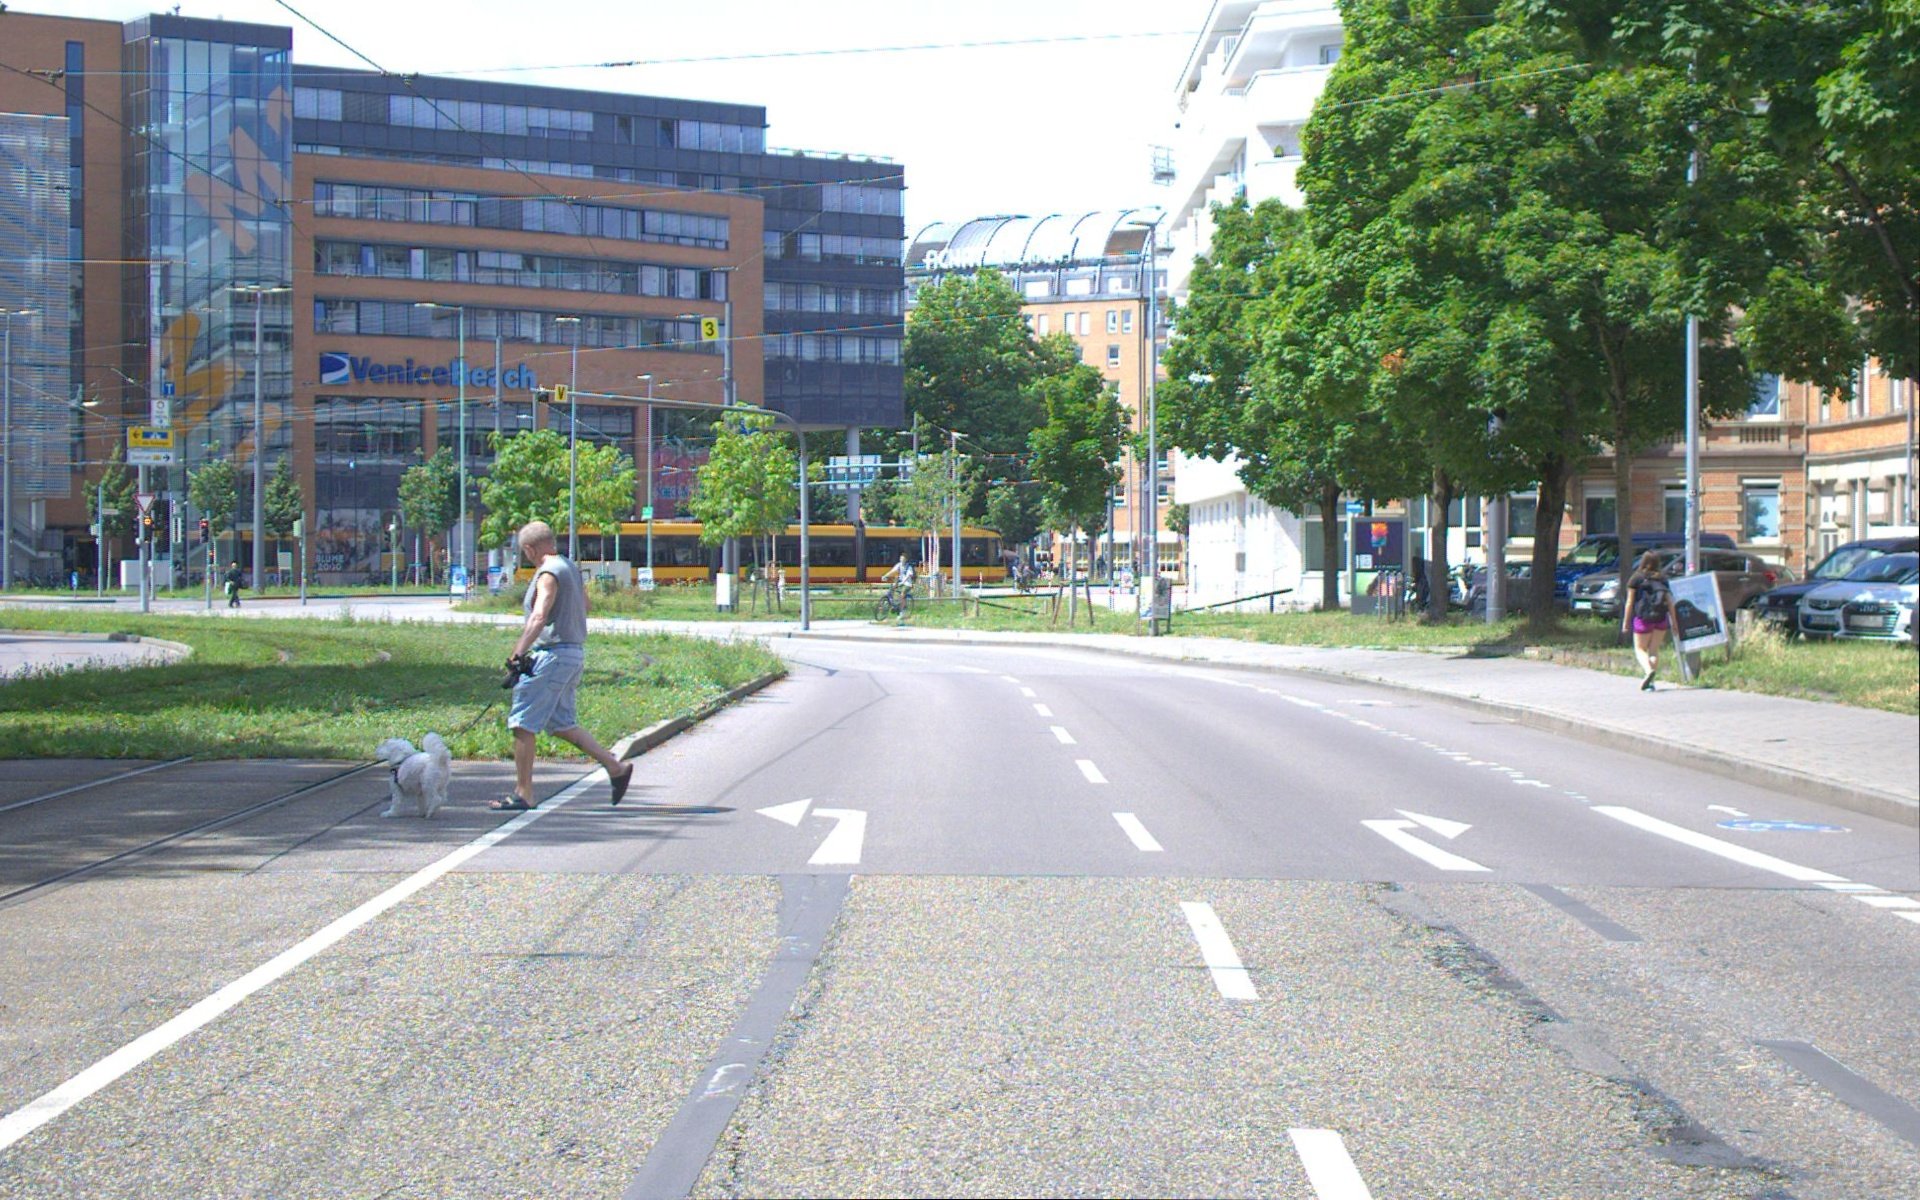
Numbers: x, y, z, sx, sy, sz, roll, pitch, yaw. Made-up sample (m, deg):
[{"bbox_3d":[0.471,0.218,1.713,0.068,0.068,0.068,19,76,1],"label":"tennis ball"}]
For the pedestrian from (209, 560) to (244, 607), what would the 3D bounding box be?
[{"bbox_3d":[-26.808,-0.611,125.626,0.917,1.696,0.807,0,2,24],"label":"pedestrian"}]

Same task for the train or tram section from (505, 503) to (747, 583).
[{"bbox_3d":[-16.071,-2.714,166.821,3.223,3.587,13.470,2,1,38],"label":"train or tram section"}]

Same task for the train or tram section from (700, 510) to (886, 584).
[{"bbox_3d":[-8.482,-2.678,176.528,3.062,3.591,10.968,2,1,38],"label":"train or tram section"}]

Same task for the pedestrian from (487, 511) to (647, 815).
[{"bbox_3d":[-2.250,0.350,19.747,0.781,1.698,0.702,2,1,2],"label":"pedestrian"}]

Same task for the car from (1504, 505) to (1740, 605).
[{"bbox_3d":[13.588,-0.916,70.508,4.614,1.921,1.917,1,1,-31],"label":"car"}]

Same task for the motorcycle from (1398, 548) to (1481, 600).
[{"bbox_3d":[10.908,-0.593,78.270,1.783,1.163,0.640,0,1,-1],"label":"motorcycle"}]

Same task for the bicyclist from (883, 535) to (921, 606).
[{"bbox_3d":[-1.536,-0.789,90.786,0.695,1.818,0.956,-1,2,17],"label":"bicyclist"}]

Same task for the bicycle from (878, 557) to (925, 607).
[{"bbox_3d":[-1.535,-0.483,90.755,0.694,1.238,1.838,-1,2,15],"label":"bicycle"}]

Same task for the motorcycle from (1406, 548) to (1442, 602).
[{"bbox_3d":[10.203,-0.561,75.614,0.638,1.163,1.905,1,1,12],"label":"motorcycle"}]

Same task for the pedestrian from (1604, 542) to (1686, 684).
[{"bbox_3d":[7.835,0.137,39.327,0.700,1.586,0.905,1,1,-1],"label":"pedestrian"}]

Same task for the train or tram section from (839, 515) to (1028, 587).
[{"bbox_3d":[-1.333,-2.609,186.026,3.062,3.608,12.608,2,1,37],"label":"train or tram section"}]

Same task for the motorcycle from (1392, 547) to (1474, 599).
[{"bbox_3d":[10.893,-0.620,79.152,1.783,1.163,0.640,0,1,-1],"label":"motorcycle"}]

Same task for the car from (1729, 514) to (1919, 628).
[{"bbox_3d":[14.512,-0.447,54.956,4.136,1.735,1.852,1,1,-31],"label":"car"}]

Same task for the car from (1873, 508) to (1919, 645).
[{"bbox_3d":[14.065,-0.264,44.760,4.352,1.735,1.852,1,1,-36],"label":"car"}]

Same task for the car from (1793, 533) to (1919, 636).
[{"bbox_3d":[14.096,-0.196,48.550,4.678,1.375,1.852,1,1,-34],"label":"car"}]

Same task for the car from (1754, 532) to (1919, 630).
[{"bbox_3d":[14.081,-0.272,51.781,4.072,1.401,1.852,1,1,-35],"label":"car"}]

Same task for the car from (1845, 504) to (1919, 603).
[{"bbox_3d":[21.985,-1.034,78.490,2.111,2.171,5.394,1,1,0],"label":"car"}]

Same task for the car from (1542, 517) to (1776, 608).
[{"bbox_3d":[13.734,-0.735,67.521,4.160,1.650,1.917,1,1,-27],"label":"car"}]
